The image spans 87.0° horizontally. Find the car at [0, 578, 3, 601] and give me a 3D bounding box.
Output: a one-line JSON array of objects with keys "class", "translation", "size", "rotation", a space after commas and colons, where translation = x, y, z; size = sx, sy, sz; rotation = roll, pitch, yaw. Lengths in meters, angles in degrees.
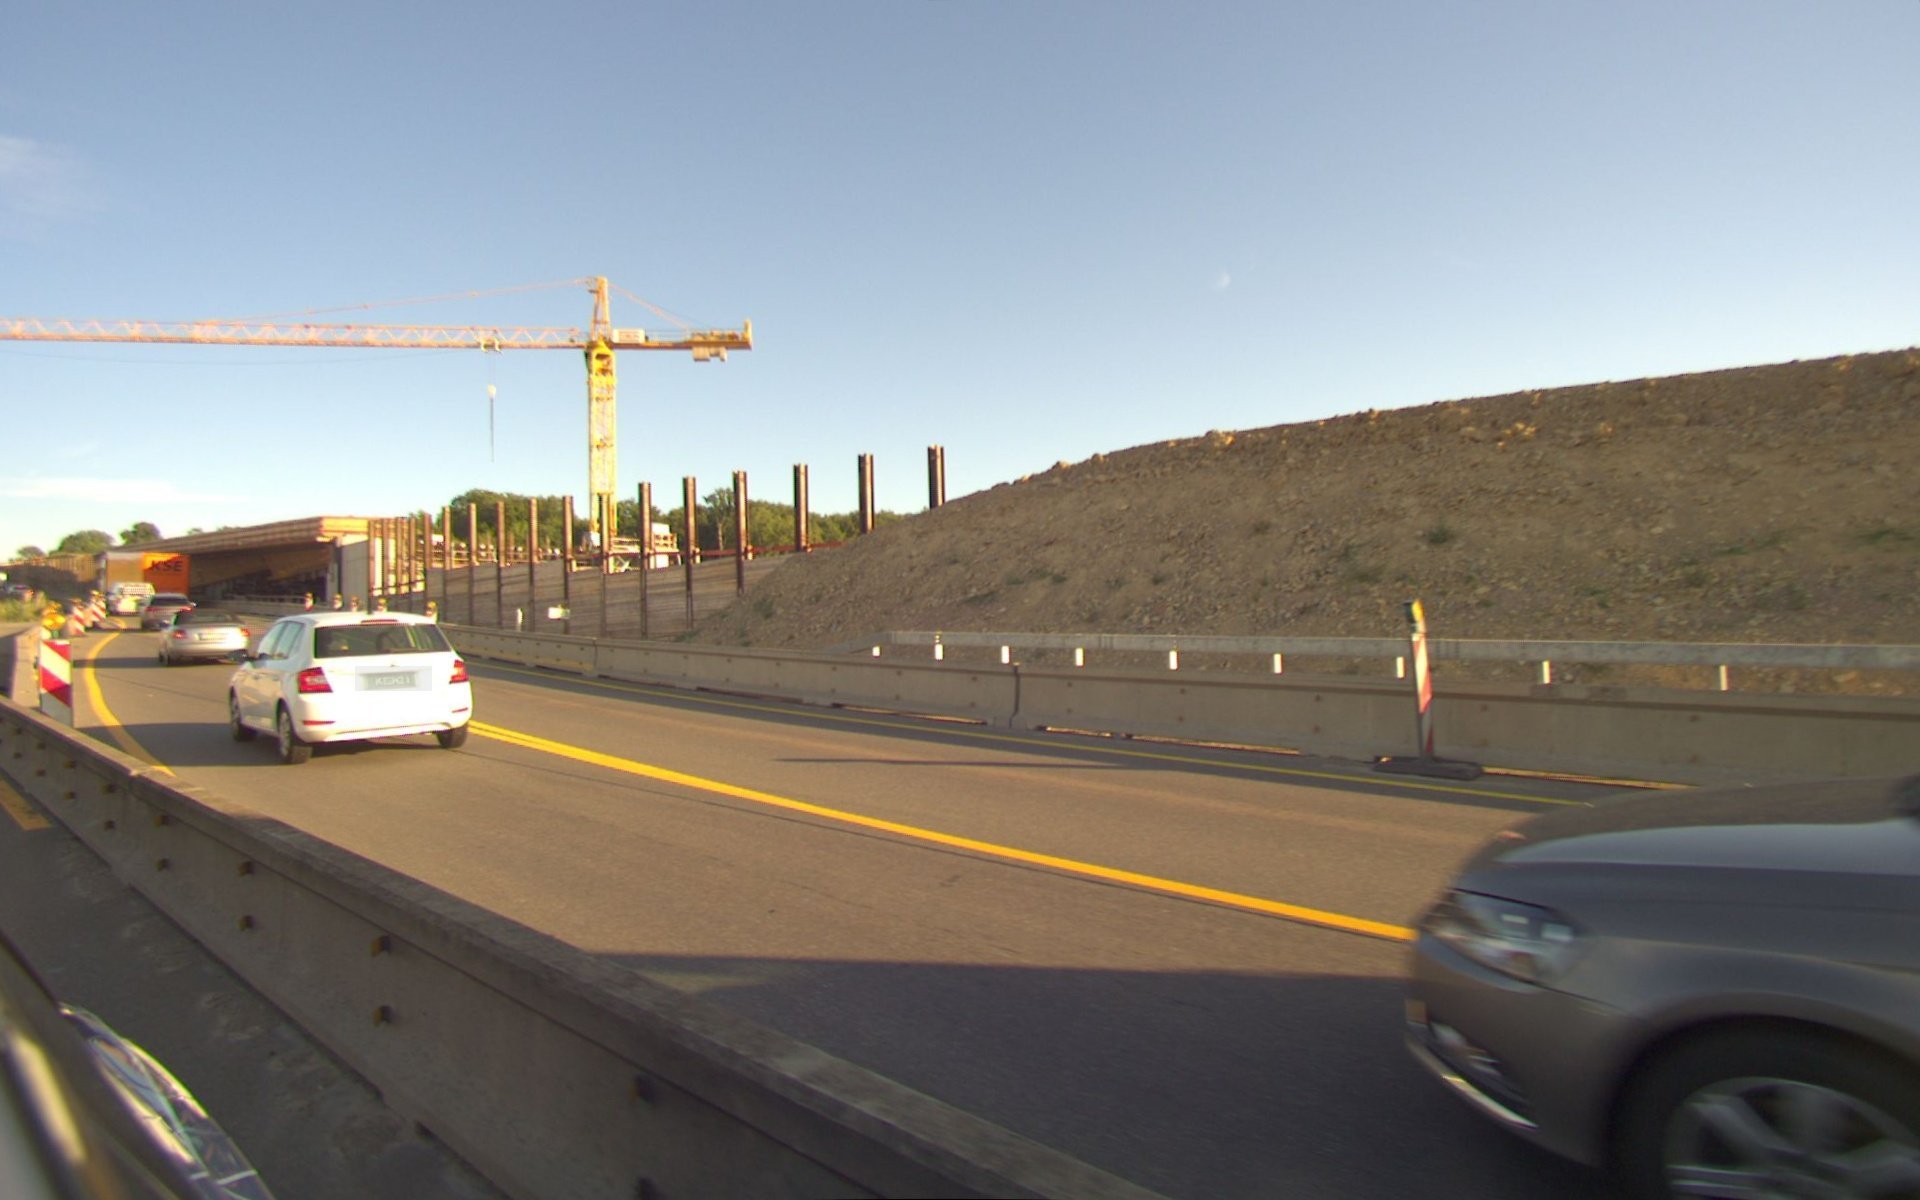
[{"class": "car", "translation": [-129.551, -1.407, 134.788], "size": [6.157, 2.989, 2.305], "rotation": [1, 1, 39]}]

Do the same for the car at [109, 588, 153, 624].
[{"class": "car", "translation": [-49.657, 0.304, 60.600], "size": [1.969, 2.029, 5.266], "rotation": [-1, 1, -40]}]

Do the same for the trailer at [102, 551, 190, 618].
[{"class": "trailer", "translation": [-59.378, -1.158, 73.649], "size": [14.130, 4.504, 2.557], "rotation": [1, 2, 41]}]

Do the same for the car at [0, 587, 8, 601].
[{"class": "car", "translation": [-104.753, -0.652, 109.941], "size": [4.001, 1.401, 1.643], "rotation": [1, 5, 43]}]

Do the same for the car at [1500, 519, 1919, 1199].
[{"class": "car", "translation": [3.461, 0.591, 1.377], "size": [4.510, 1.494, 1.830], "rotation": [-1, -1, 42]}]

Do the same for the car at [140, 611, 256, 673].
[{"class": "car", "translation": [-19.516, 1.003, 25.833], "size": [1.768, 1.367, 4.638], "rotation": [-2, 1, -44]}]

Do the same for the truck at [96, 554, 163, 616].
[{"class": "truck", "translation": [-63.351, -1.184, 77.157], "size": [8.329, 4.504, 2.557], "rotation": [1, 2, 41]}]

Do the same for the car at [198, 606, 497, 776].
[{"class": "car", "translation": [-6.840, 0.830, 11.106], "size": [4.220, 1.500, 1.769], "rotation": [-1, -1, 44]}]

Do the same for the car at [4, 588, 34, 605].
[{"class": "car", "translation": [-91.128, -0.347, 97.991], "size": [4.659, 1.612, 1.712], "rotation": [1, 1, 41]}]

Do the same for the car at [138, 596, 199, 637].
[{"class": "car", "translation": [-34.376, 0.683, 43.908], "size": [1.767, 1.631, 4.881], "rotation": [-2, 1, -41]}]
